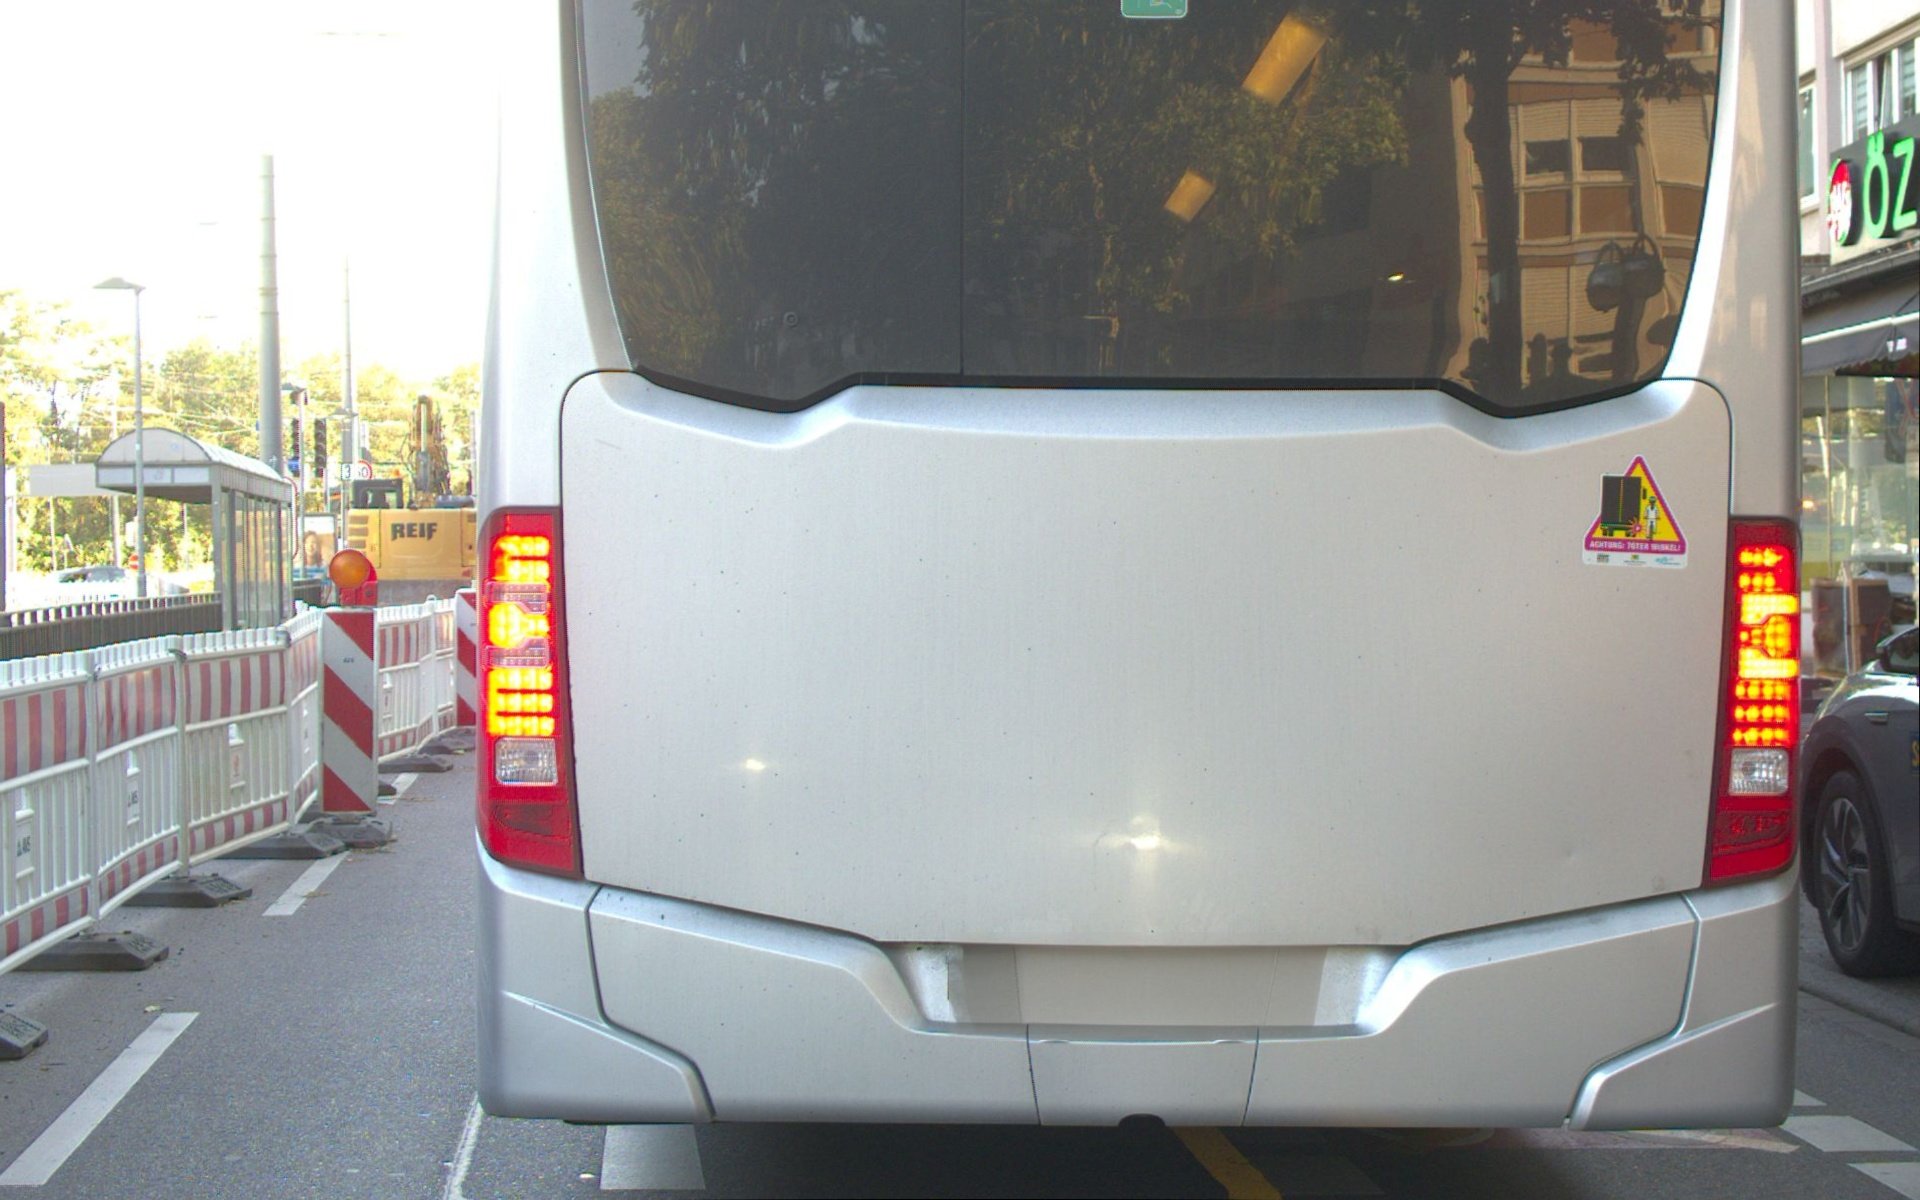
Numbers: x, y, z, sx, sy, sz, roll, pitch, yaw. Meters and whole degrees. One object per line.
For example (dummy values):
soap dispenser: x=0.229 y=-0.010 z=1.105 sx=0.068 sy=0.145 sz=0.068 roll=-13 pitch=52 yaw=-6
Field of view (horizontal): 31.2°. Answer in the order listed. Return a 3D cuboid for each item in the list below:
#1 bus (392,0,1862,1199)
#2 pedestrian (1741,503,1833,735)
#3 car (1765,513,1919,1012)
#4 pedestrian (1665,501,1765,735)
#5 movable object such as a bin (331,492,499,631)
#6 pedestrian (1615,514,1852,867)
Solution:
bus: x=0.271 y=-0.287 z=11.254 sx=2.608 sy=3.159 sz=10.292 roll=0 pitch=1 yaw=0
pedestrian: x=7.259 y=0.160 z=30.189 sx=0.612 sy=2.007 sz=0.696 roll=-1 pitch=0 yaw=-1
car: x=3.986 y=0.493 z=10.270 sx=1.739 sy=1.592 sz=4.300 roll=-3 pitch=1 yaw=-5
pedestrian: x=6.571 y=0.150 z=29.953 sx=0.691 sy=2.007 sz=0.696 roll=-1 pitch=0 yaw=-1
movable object such as a bin: x=-10.047 y=-0.721 z=63.676 sx=2.806 sy=2.453 sz=4.001 roll=-1 pitch=1 yaw=-5
pedestrian: x=3.581 y=0.397 z=15.903 sx=0.750 sy=1.575 sz=0.875 roll=0 pitch=1 yaw=38
